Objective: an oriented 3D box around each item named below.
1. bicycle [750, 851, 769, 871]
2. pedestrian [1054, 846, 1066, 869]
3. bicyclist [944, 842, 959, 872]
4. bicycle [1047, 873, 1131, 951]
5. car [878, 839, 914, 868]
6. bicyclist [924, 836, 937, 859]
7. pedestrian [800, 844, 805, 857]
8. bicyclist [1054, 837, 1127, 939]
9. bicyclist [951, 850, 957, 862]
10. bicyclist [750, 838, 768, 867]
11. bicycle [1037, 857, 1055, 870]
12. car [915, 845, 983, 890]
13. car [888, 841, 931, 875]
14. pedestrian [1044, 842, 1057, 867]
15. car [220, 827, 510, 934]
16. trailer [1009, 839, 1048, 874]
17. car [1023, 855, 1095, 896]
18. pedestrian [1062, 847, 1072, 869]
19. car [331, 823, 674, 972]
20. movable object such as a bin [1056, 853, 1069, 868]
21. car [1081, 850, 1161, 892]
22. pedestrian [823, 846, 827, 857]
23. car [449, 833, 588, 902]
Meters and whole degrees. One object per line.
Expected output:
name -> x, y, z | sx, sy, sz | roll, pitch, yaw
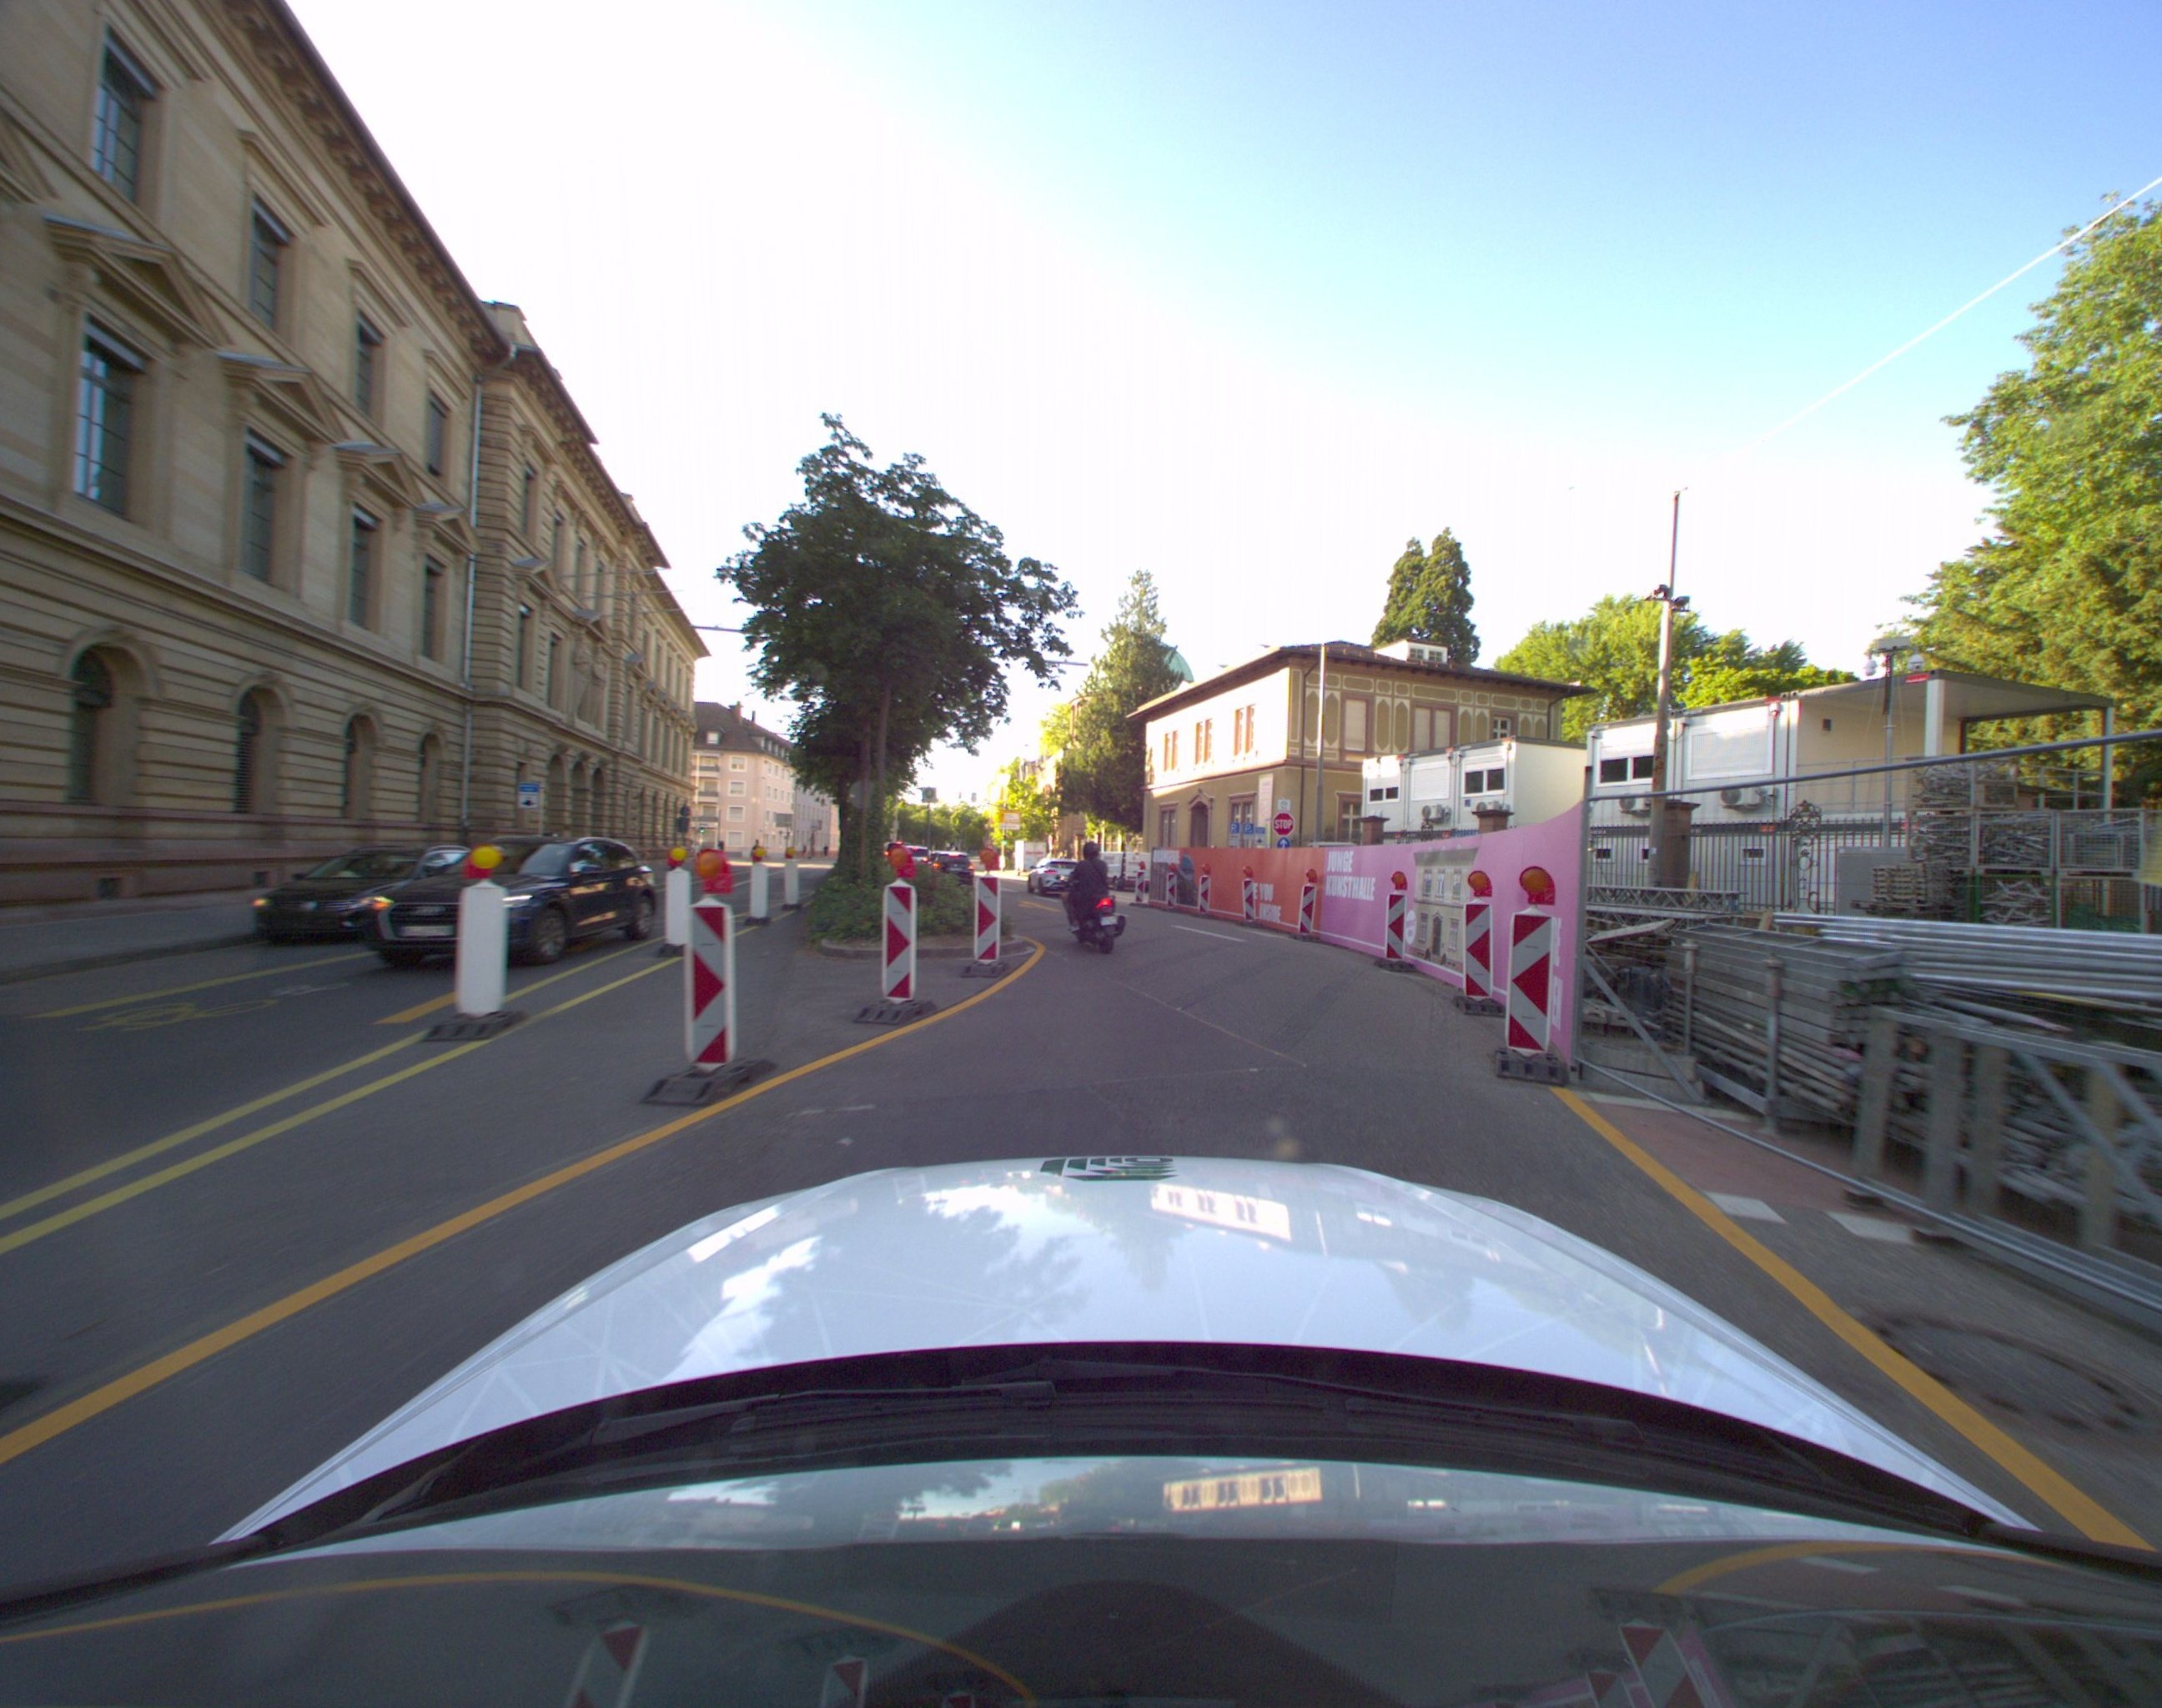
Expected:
bicycle -> -20.411, 0.420, 51.677 | 0.882, 1.194, 2.164 | 0, 0, -16
pedestrian -> -1.640, 0.266, 63.005 | 0.684, 1.701, 0.690 | 1, 0, -17
bicyclist -> -7.331, 0.187, 46.042 | 0.674, 1.652, 0.883 | 3, -1, -16
bicycle -> 0.069, 0.888, 13.226 | 0.870, 1.043, 2.445 | 4, -1, -10
car -> -13.120, -0.041, 57.541 | 2.072, 1.915, 5.005 | 2, -1, -17
bicyclist -> -10.550, -0.453, 57.082 | 0.804, 1.608, 0.821 | 2, 0, -14
pedestrian -> -36.602, -0.483, 106.940 | 0.481, 1.657, 0.471 | 2, 0, -11
bicyclist -> 0.126, 0.524, 13.177 | 0.867, 1.523, 1.227 | 4, -1, -10
bicyclist -> -16.342, 0.255, 105.019 | 0.636, 1.614, 1.279 | 4, 0, -11
bicyclist -> -20.388, -0.085, 51.557 | 0.882, 1.834, 1.279 | 0, 0, -16
bicycle -> -2.964, 0.830, 69.669 | 1.469, 1.039, 0.476 | 2, 0, -16
car -> -5.540, 0.518, 33.730 | 1.999, 1.657, 4.707 | 2, 0, -18
car -> -9.739, 0.207, 45.981 | 1.995, 1.749, 4.722 | 2, 0, -16
pedestrian -> -2.361, 0.056, 62.568 | 0.717, 1.894, 0.884 | 1, 0, -18
car -> -11.792, 0.349, 13.915 | 1.883, 1.507, 4.619 | 1, 1, -16
trailer -> -3.951, 0.139, 60.654 | 2.083, 2.528, 4.470 | 1, 0, -15
car -> -0.948, 0.806, 31.865 | 1.996, 1.453, 3.982 | 2, 0, -14
pedestrian -> -1.146, 0.331, 65.559 | 0.640, 1.768, 0.734 | 2, 0, -13
car -> -7.698, 0.484, 11.557 | 1.874, 1.670, 4.646 | 1, 0, -6
movable object such as a bin -> -1.400, 0.497, 62.147 | 0.713, 1.117, 1.044 | 0, 1, -18
car -> 1.949, 0.823, 41.975 | 2.021, 1.945, 5.444 | 4, -1, -21
pedestrian -> -38.058, -0.359, 120.994 | 0.481, 1.657, 0.471 | 2, 0, -11
car -> -13.830, 0.292, 20.271 | 1.671, 1.507, 3.825 | 2, 0, -16
